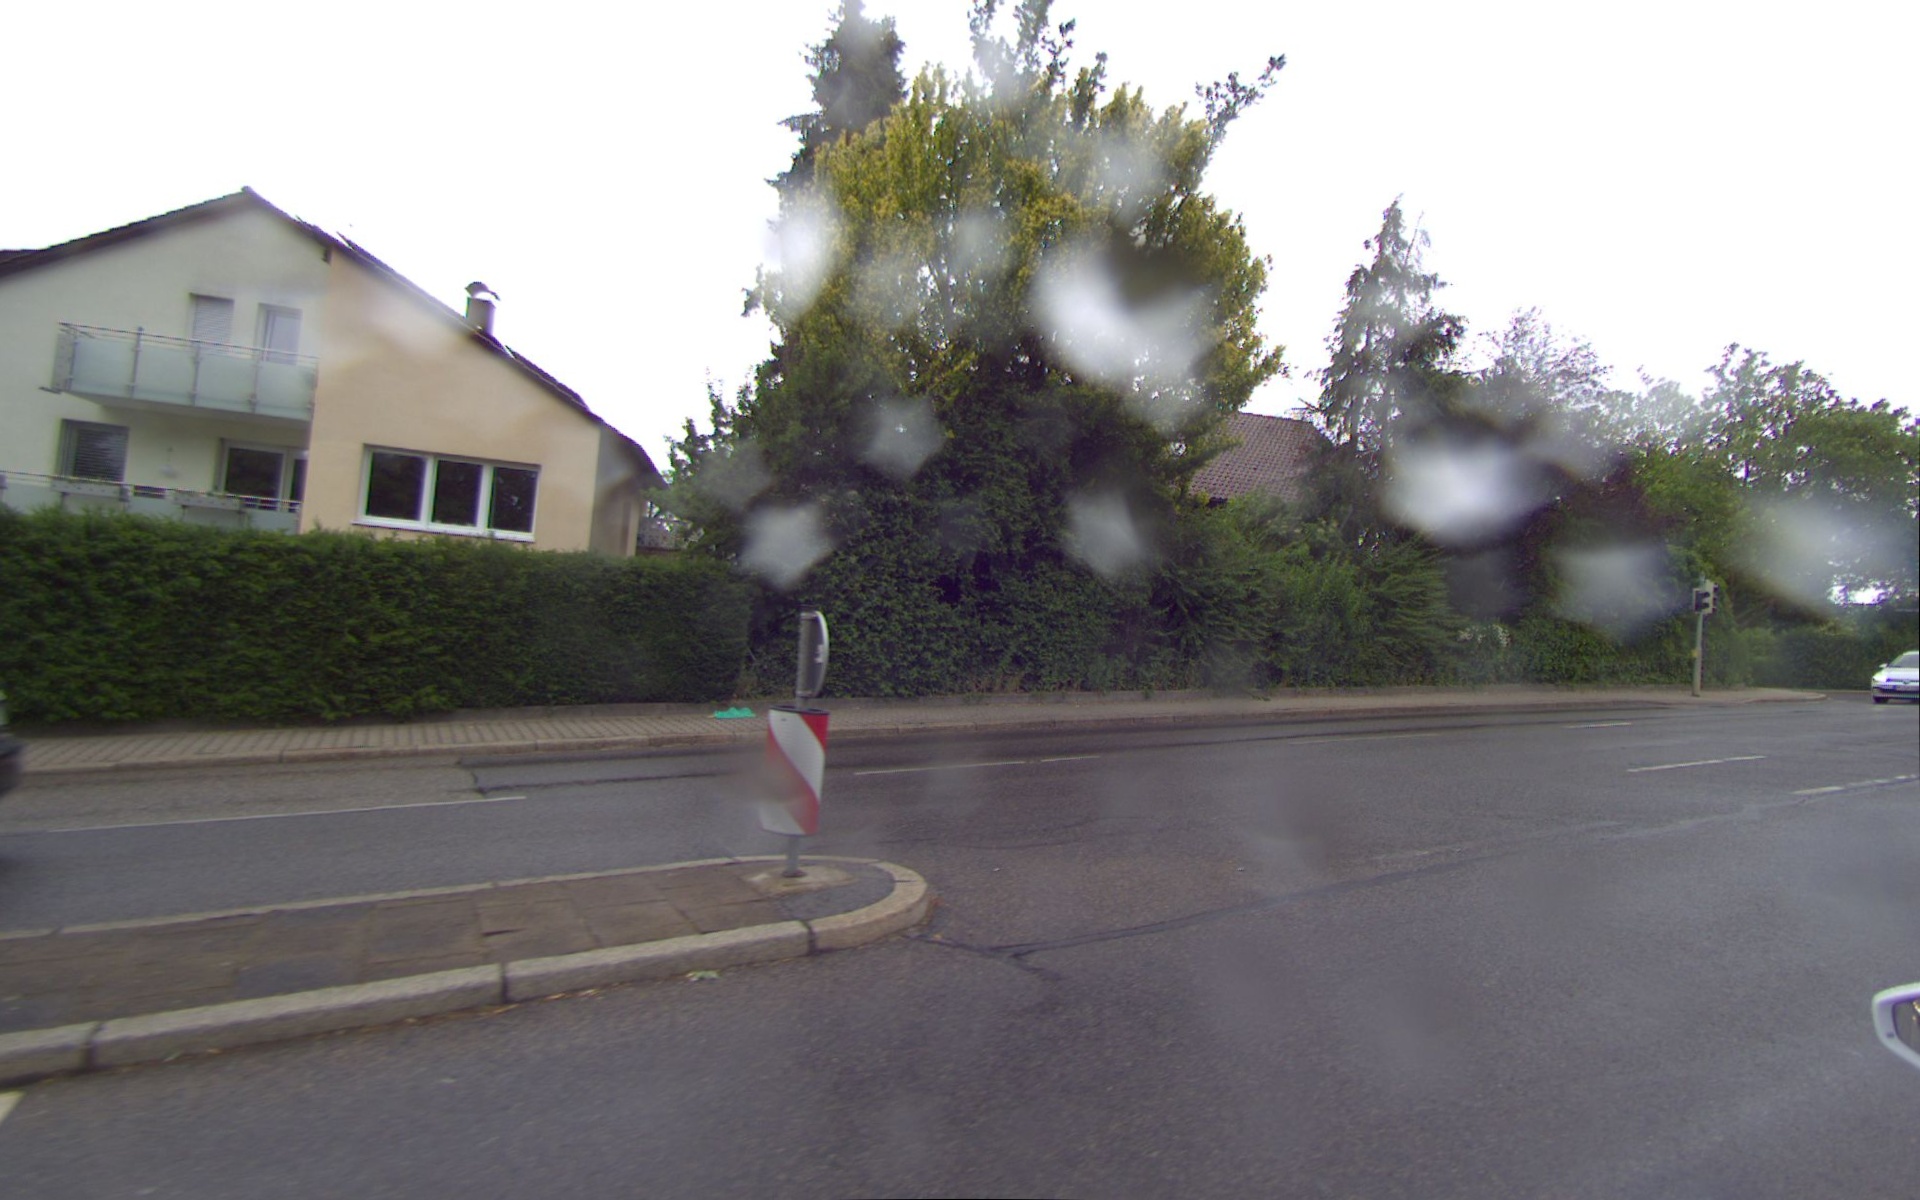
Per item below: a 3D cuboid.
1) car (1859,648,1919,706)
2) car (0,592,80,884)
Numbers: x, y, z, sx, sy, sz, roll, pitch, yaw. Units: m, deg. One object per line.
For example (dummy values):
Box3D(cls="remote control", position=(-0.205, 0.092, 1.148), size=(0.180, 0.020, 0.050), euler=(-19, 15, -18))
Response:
Box3D(cls="car", position=(26.690, 2.078, 27.619), size=(4.107, 1.505, 1.720), euler=(2, -3, -30))
Box3D(cls="car", position=(-6.932, 0.682, 4.801), size=(3.791, 1.512, 1.853), euler=(2, -2, -32))
